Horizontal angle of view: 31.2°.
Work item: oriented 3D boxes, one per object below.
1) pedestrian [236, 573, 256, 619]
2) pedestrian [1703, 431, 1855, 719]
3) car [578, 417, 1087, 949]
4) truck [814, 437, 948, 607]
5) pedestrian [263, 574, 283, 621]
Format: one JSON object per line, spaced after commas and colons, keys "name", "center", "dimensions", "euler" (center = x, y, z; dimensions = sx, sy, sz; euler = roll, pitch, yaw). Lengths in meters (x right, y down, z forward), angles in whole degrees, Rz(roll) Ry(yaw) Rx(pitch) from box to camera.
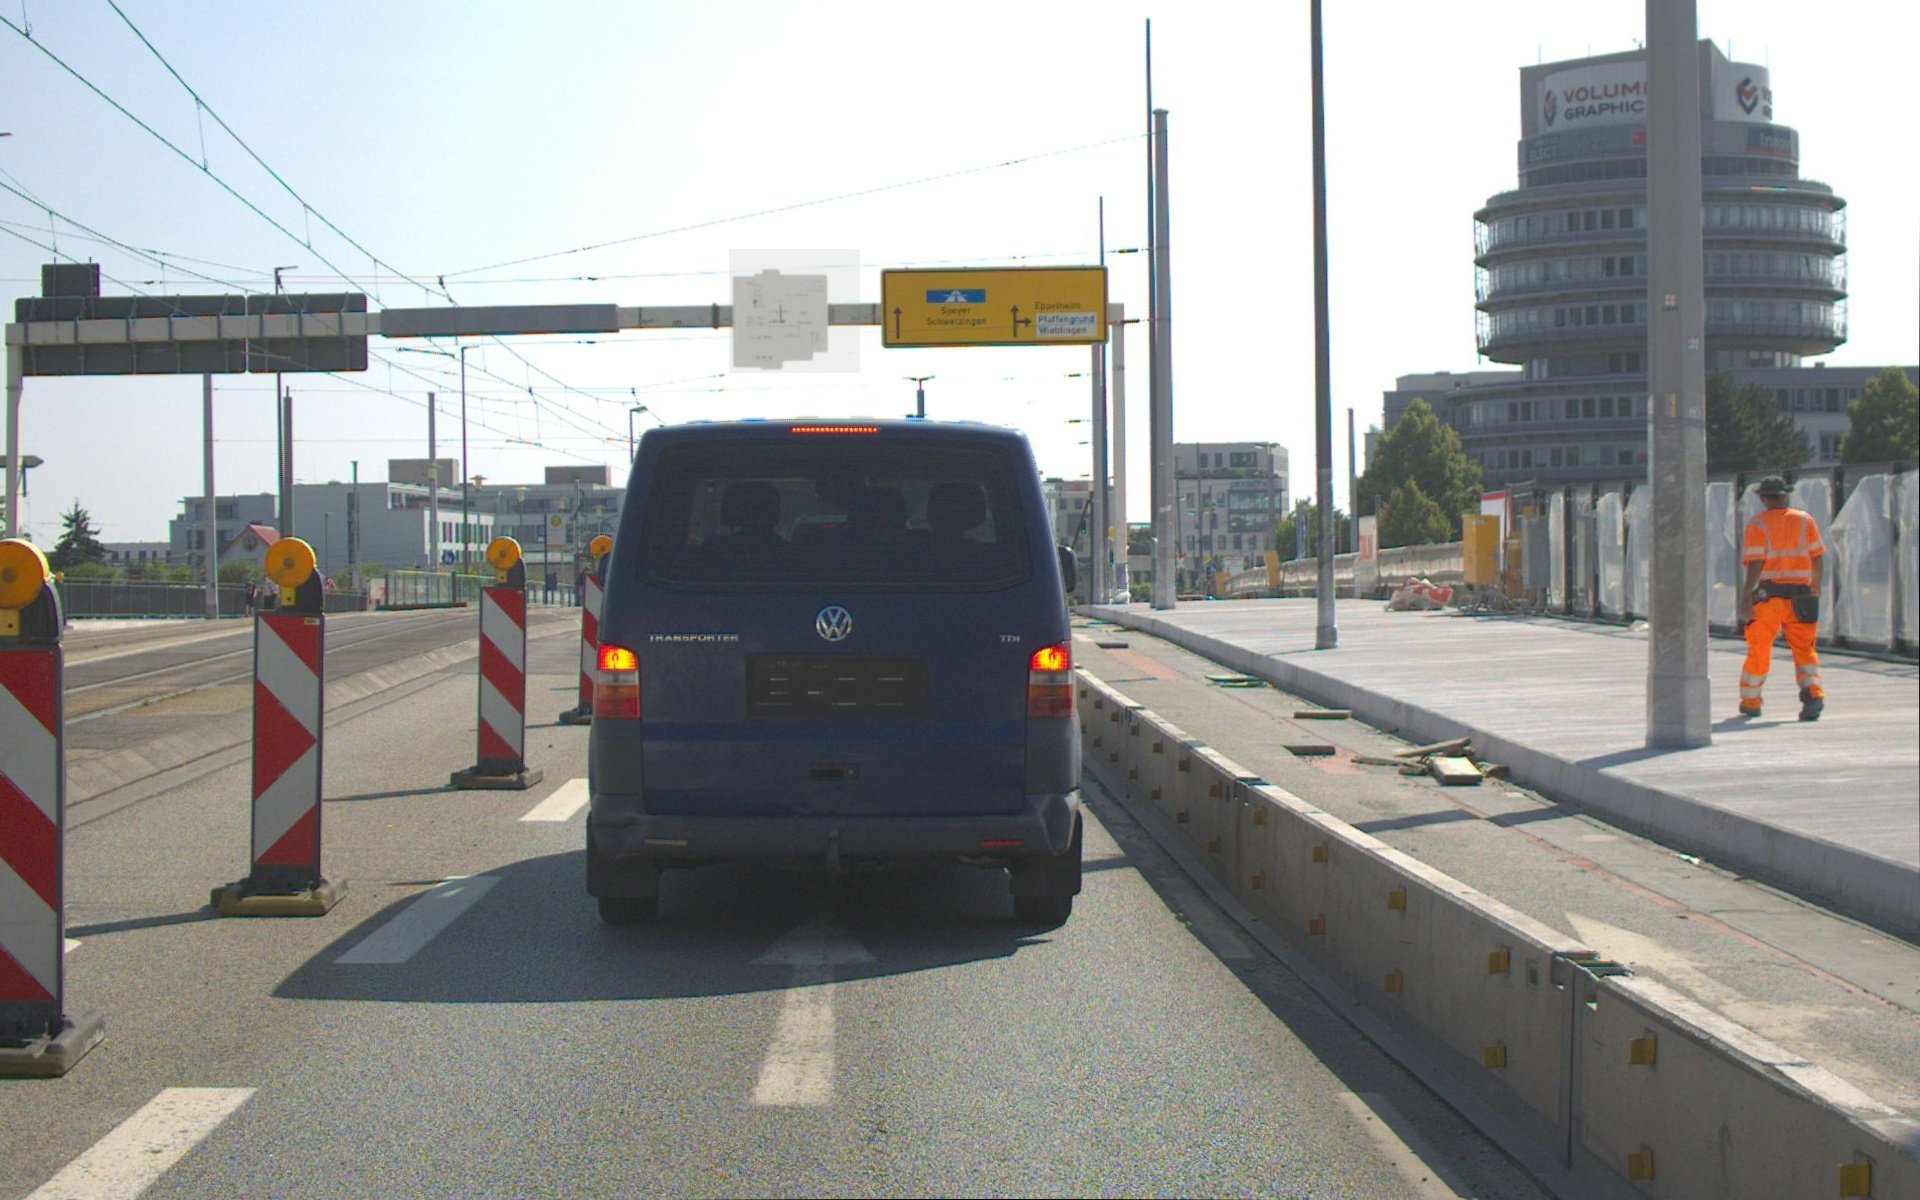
{"name": "pedestrian", "center": [-27.333, -0.162, 131.631], "dimensions": [0.634, 1.746, 0.752], "euler": [0, 1, -2]}
{"name": "pedestrian", "center": [5.658, -0.173, 23.781], "dimensions": [0.782, 1.928, 0.799], "euler": [-2, 0, -1]}
{"name": "car", "center": [-0.566, 0.258, 14.408], "dimensions": [1.815, 1.899, 4.055], "euler": [-1, 1, -3]}
{"name": "truck", "center": [-1.593, -1.643, 69.641], "dimensions": [2.460, 3.124, 11.217], "euler": [-1, 2, -1]}
{"name": "pedestrian", "center": [-26.330, -0.092, 131.784], "dimensions": [0.634, 1.768, 0.752], "euler": [0, 1, -1]}
